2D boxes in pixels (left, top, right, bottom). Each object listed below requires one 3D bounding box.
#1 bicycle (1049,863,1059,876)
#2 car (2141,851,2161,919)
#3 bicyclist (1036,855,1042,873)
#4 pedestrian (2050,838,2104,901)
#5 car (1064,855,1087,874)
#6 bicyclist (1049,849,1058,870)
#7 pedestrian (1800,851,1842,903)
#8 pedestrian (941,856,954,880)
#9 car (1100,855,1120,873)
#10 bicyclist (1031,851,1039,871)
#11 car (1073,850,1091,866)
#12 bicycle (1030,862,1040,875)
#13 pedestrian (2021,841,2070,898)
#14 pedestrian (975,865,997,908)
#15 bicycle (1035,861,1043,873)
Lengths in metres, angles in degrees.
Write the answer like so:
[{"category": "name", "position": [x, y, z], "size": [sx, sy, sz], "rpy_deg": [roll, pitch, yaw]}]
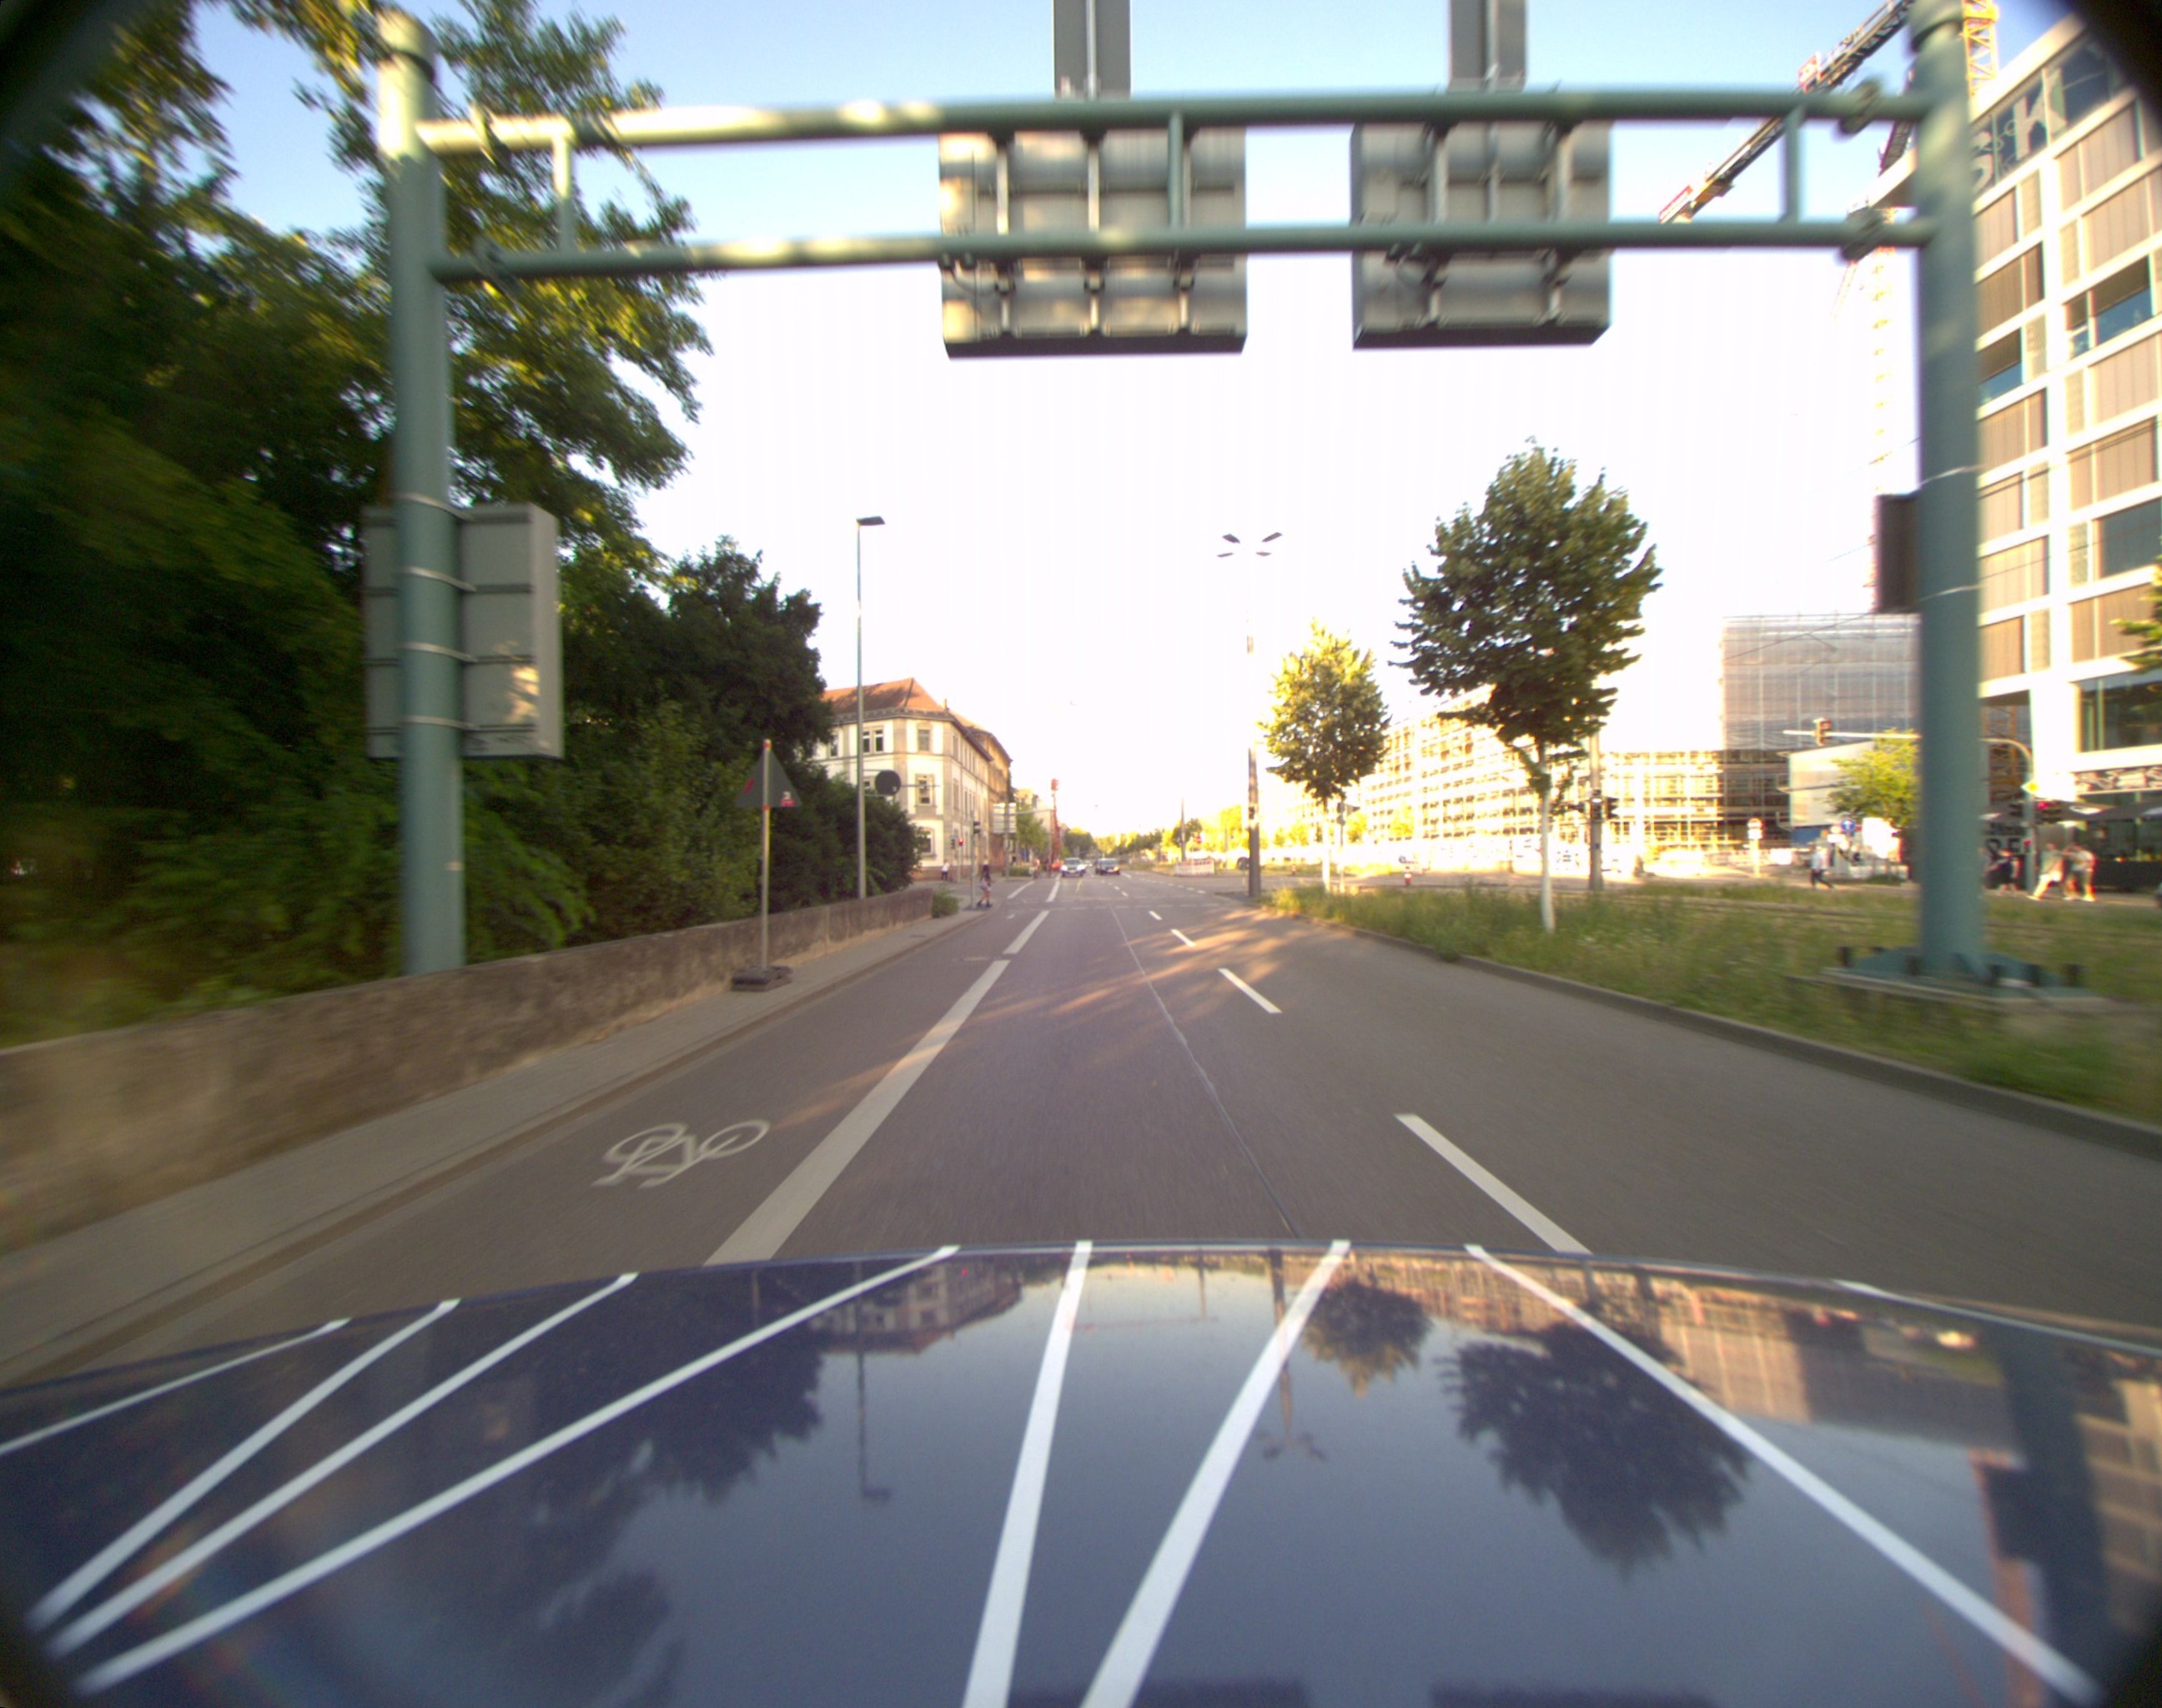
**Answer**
[{"category": "bicycle", "position": [-2.295, 1.306, 64.810], "size": [0.721, 1.045, 2.043], "rpy_deg": [-3, 1, -1]}, {"category": "car", "position": [23.593, 0.662, 13.784], "size": [2.020, 1.432, 4.801], "rpy_deg": [1, 0, 0]}, {"category": "bicyclist", "position": [-3.697, 0.869, 66.957], "size": [0.512, 1.539, 0.692], "rpy_deg": [0, 0, 3]}, {"category": "pedestrian", "position": [31.469, 0.479, 24.019], "size": [0.680, 1.912, 0.708], "rpy_deg": [-3, 0, 2]}, {"category": "car", "position": [-0.482, 0.931, 67.276], "size": [1.833, 1.588, 4.260], "rpy_deg": [-2, 0, 2]}, {"category": "bicyclist", "position": [-2.341, 0.468, 65.007], "size": [0.705, 1.691, 0.768], "rpy_deg": [-3, 2, -2]}, {"category": "pedestrian", "position": [26.793, 0.814, 27.509], "size": [0.708, 1.825, 0.763], "rpy_deg": [-3, 0, -1]}, {"category": "pedestrian", "position": [-9.516, 1.002, 54.276], "size": [0.819, 1.647, 0.636], "rpy_deg": [-1, 0, -19]}, {"category": "car", "position": [2.621, 0.867, 68.542], "size": [1.702, 1.588, 4.260], "rpy_deg": [-2, 0, 2]}, {"category": "bicyclist", "position": [-3.916, 0.624, 64.908], "size": [0.509, 1.692, 0.768], "rpy_deg": [2, 2, 4]}, {"category": "car", "position": [0.124, 0.453, 83.157], "size": [1.879, 1.652, 3.762], "rpy_deg": [-2, 0, 2]}, {"category": "bicycle", "position": [-3.935, 1.211, 64.839], "size": [0.528, 1.045, 2.048], "rpy_deg": [2, 1, 4]}, {"category": "pedestrian", "position": [31.470, 0.494, 24.805], "size": [0.708, 1.825, 0.681], "rpy_deg": [-3, 1, -1]}, {"category": "pedestrian", "position": [-3.439, 1.161, 27.511], "size": [0.580, 1.495, 0.619], "rpy_deg": [2, 1, 7]}, {"category": "bicycle", "position": [-3.698, 1.169, 66.965], "size": [0.517, 1.045, 2.044], "rpy_deg": [0, 0, 3]}]
